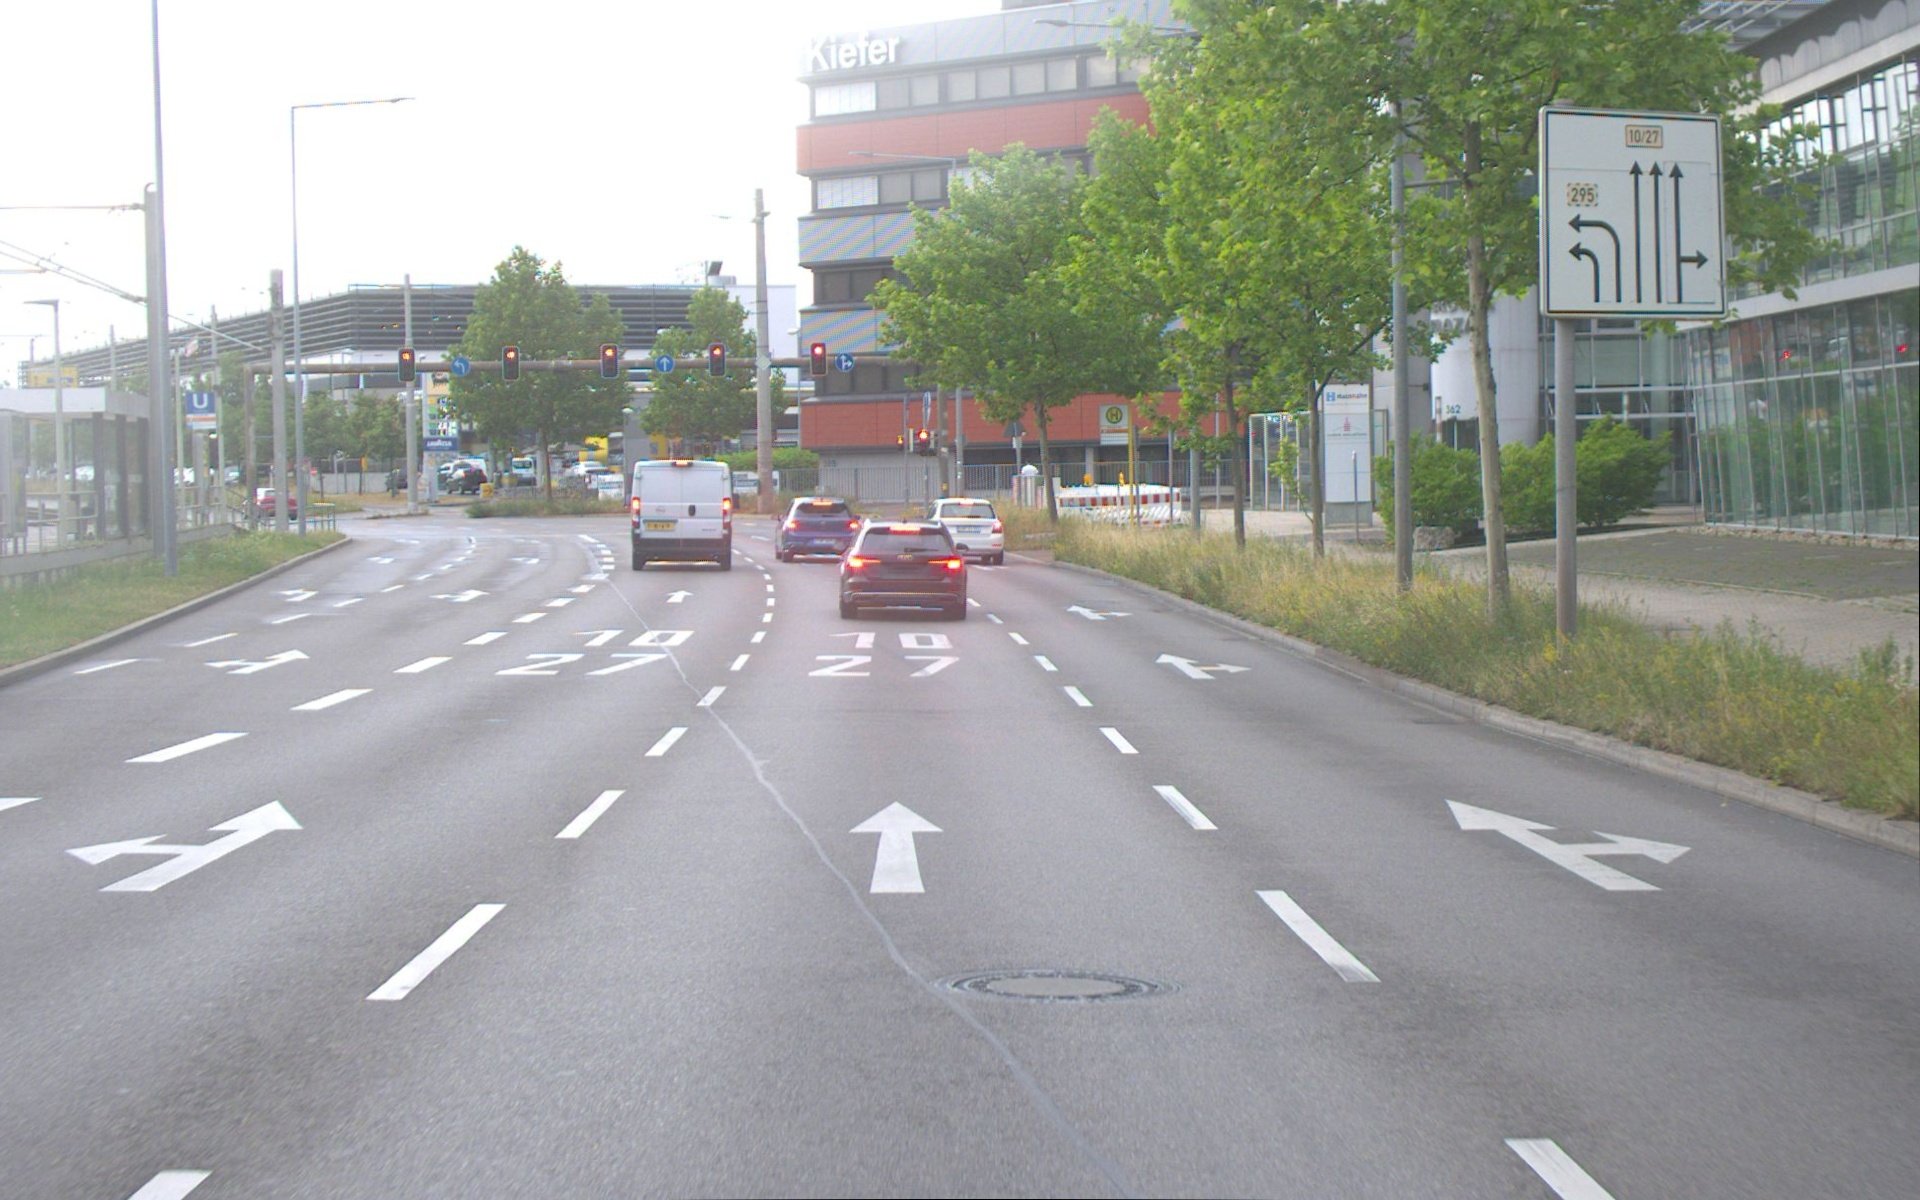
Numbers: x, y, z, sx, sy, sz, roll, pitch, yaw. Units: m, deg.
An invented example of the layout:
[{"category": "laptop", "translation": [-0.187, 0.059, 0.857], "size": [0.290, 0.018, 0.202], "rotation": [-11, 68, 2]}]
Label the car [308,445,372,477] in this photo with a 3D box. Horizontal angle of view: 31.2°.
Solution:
[{"category": "car", "translation": [-42.928, -9.614, 238.049], "size": [3.986, 2.007, 2.000], "rotation": [0, -1, -23]}]

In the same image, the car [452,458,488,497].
[{"category": "car", "translation": [-27.444, -6.844, 192.626], "size": [1.817, 2.007, 3.471], "rotation": [0, -1, -11]}]

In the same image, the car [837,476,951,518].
[{"category": "car", "translation": [-2.633, -4.063, 136.230], "size": [4.322, 1.617, 2.022], "rotation": [1, 1, 44]}]

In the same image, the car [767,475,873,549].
[{"category": "car", "translation": [-3.203, -1.979, 77.919], "size": [2.021, 1.617, 4.001], "rotation": [0, 1, -7]}]

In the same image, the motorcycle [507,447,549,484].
[{"category": "motorcycle", "translation": [-27.246, -8.462, 216.620], "size": [1.993, 2.007, 4.001], "rotation": [1, -1, -16]}]

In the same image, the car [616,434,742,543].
[{"category": "car", "translation": [-5.854, -2.305, 71.710], "size": [2.511, 2.169, 5.150], "rotation": [0, 1, -4]}]

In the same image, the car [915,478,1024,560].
[{"category": "car", "translation": [0.181, -1.840, 77.403], "size": [2.021, 1.763, 4.001], "rotation": [0, 2, -6]}]

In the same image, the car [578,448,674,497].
[{"category": "car", "translation": [-14.561, -5.557, 149.738], "size": [3.997, 2.007, 1.995], "rotation": [2, 1, 44]}]

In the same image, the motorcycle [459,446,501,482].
[{"category": "motorcycle", "translation": [-30.094, -8.501, 215.441], "size": [1.993, 2.007, 4.001], "rotation": [1, -1, -16]}]

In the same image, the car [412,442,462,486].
[{"category": "car", "translation": [-26.942, -6.973, 176.890], "size": [1.993, 2.007, 4.001], "rotation": [0, -1, -17]}]

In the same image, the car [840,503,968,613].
[{"category": "car", "translation": [-0.771, -0.653, 50.098], "size": [1.764, 1.458, 4.627], "rotation": [0, 2, 0]}]

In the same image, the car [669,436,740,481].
[{"category": "car", "translation": [-12.869, -7.094, 172.993], "size": [1.993, 2.007, 4.000], "rotation": [1, -2, -31]}]

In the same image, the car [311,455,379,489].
[{"category": "car", "translation": [-39.709, -8.268, 221.840], "size": [3.986, 2.007, 2.000], "rotation": [0, -1, -23]}]

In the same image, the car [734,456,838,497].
[{"category": "car", "translation": [-7.117, -5.039, 140.250], "size": [3.997, 1.617, 2.022], "rotation": [1, 1, 44]}]

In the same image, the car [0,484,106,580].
[{"category": "car", "translation": [-16.145, -1.210, 59.781], "size": [1.993, 1.447, 3.849], "rotation": [0, 4, -6]}]

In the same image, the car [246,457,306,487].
[{"category": "car", "translation": [-50.382, -9.415, 253.294], "size": [3.986, 2.007, 2.000], "rotation": [0, -1, -23]}]

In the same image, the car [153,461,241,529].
[{"category": "car", "translation": [-22.217, -3.046, 100.194], "size": [1.993, 1.802, 3.848], "rotation": [3, 1, -6]}]
